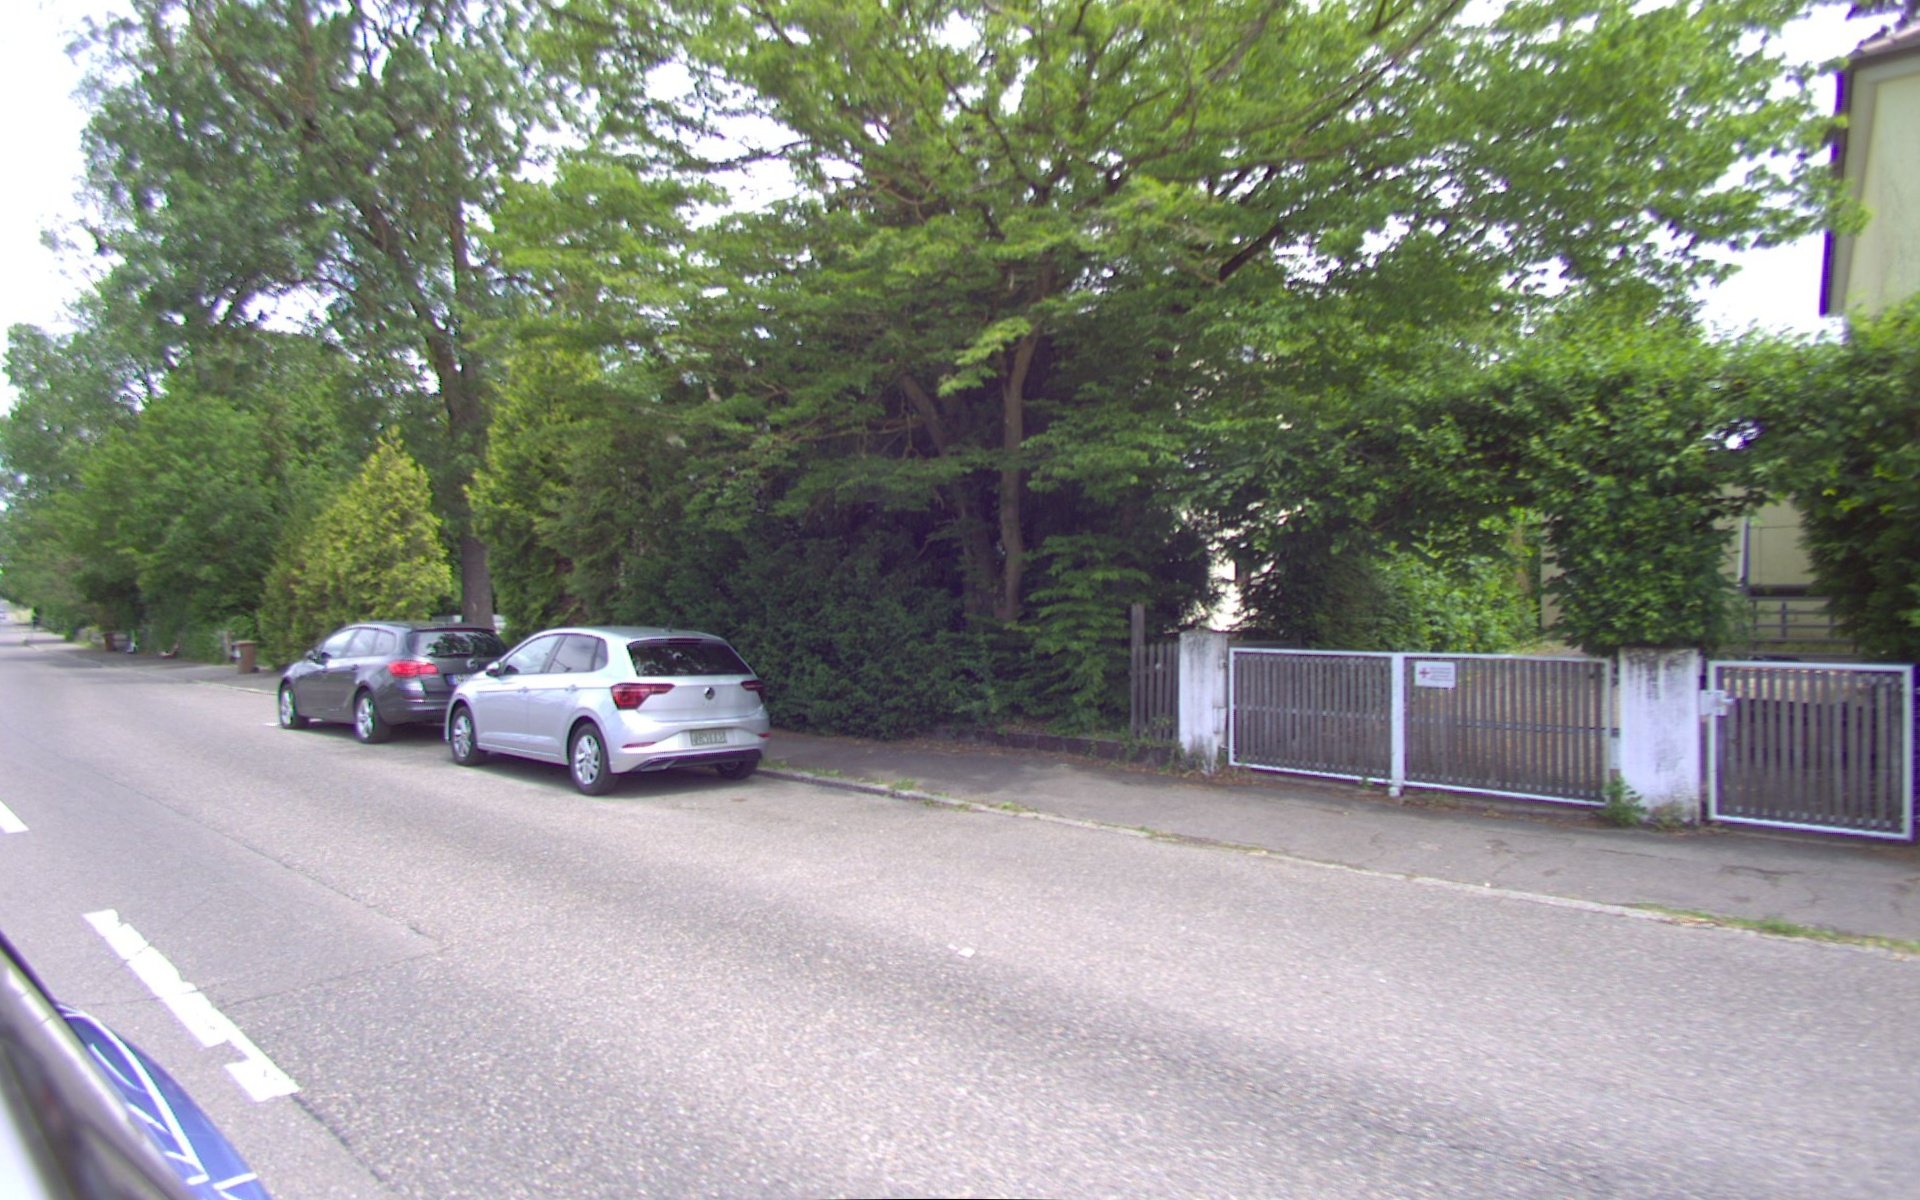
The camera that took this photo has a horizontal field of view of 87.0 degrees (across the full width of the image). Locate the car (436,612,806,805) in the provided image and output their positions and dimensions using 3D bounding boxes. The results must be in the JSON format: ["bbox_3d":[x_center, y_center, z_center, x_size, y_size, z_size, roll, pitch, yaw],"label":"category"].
[{"bbox_3d":[-3.446,0.913,9.929,3.962,1.516,1.718,-1,-3,42],"label":"car"}]

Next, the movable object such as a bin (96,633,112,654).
[{"bbox_3d":[-40.364,2.058,47.707,0.507,0.952,0.569,-1,0,-44],"label":"movable object such as a bin"}]

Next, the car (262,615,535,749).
[{"bbox_3d":[-7.654,0.995,13.617,4.474,1.516,1.719,-1,-3,40],"label":"car"}]

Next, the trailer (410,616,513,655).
[{"bbox_3d":[-20.396,1.425,41.503,1.726,1.453,3.486,-1,-1,26],"label":"trailer"}]

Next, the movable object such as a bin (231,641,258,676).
[{"bbox_3d":[-20.259,1.661,28.654,0.428,0.937,0.459,-1,3,29],"label":"movable object such as a bin"}]

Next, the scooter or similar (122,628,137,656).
[{"bbox_3d":[-36.193,1.823,44.111,0.403,1.208,1.641,0,-1,-43],"label":"scooter or similar"}]

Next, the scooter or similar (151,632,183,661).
[{"bbox_3d":[-30.152,1.767,38.485,1.208,1.089,0.474,-1,0,28],"label":"scooter or similar"}]

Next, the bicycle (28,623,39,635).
[{"bbox_3d":[-99.090,3.100,108.223,0.746,1.236,2.310,3,-3,-44],"label":"bicycle"}]

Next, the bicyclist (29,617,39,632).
[{"bbox_3d":[-99.169,2.647,108.329,0.769,1.561,0.870,1,-1,-44],"label":"bicyclist"}]
